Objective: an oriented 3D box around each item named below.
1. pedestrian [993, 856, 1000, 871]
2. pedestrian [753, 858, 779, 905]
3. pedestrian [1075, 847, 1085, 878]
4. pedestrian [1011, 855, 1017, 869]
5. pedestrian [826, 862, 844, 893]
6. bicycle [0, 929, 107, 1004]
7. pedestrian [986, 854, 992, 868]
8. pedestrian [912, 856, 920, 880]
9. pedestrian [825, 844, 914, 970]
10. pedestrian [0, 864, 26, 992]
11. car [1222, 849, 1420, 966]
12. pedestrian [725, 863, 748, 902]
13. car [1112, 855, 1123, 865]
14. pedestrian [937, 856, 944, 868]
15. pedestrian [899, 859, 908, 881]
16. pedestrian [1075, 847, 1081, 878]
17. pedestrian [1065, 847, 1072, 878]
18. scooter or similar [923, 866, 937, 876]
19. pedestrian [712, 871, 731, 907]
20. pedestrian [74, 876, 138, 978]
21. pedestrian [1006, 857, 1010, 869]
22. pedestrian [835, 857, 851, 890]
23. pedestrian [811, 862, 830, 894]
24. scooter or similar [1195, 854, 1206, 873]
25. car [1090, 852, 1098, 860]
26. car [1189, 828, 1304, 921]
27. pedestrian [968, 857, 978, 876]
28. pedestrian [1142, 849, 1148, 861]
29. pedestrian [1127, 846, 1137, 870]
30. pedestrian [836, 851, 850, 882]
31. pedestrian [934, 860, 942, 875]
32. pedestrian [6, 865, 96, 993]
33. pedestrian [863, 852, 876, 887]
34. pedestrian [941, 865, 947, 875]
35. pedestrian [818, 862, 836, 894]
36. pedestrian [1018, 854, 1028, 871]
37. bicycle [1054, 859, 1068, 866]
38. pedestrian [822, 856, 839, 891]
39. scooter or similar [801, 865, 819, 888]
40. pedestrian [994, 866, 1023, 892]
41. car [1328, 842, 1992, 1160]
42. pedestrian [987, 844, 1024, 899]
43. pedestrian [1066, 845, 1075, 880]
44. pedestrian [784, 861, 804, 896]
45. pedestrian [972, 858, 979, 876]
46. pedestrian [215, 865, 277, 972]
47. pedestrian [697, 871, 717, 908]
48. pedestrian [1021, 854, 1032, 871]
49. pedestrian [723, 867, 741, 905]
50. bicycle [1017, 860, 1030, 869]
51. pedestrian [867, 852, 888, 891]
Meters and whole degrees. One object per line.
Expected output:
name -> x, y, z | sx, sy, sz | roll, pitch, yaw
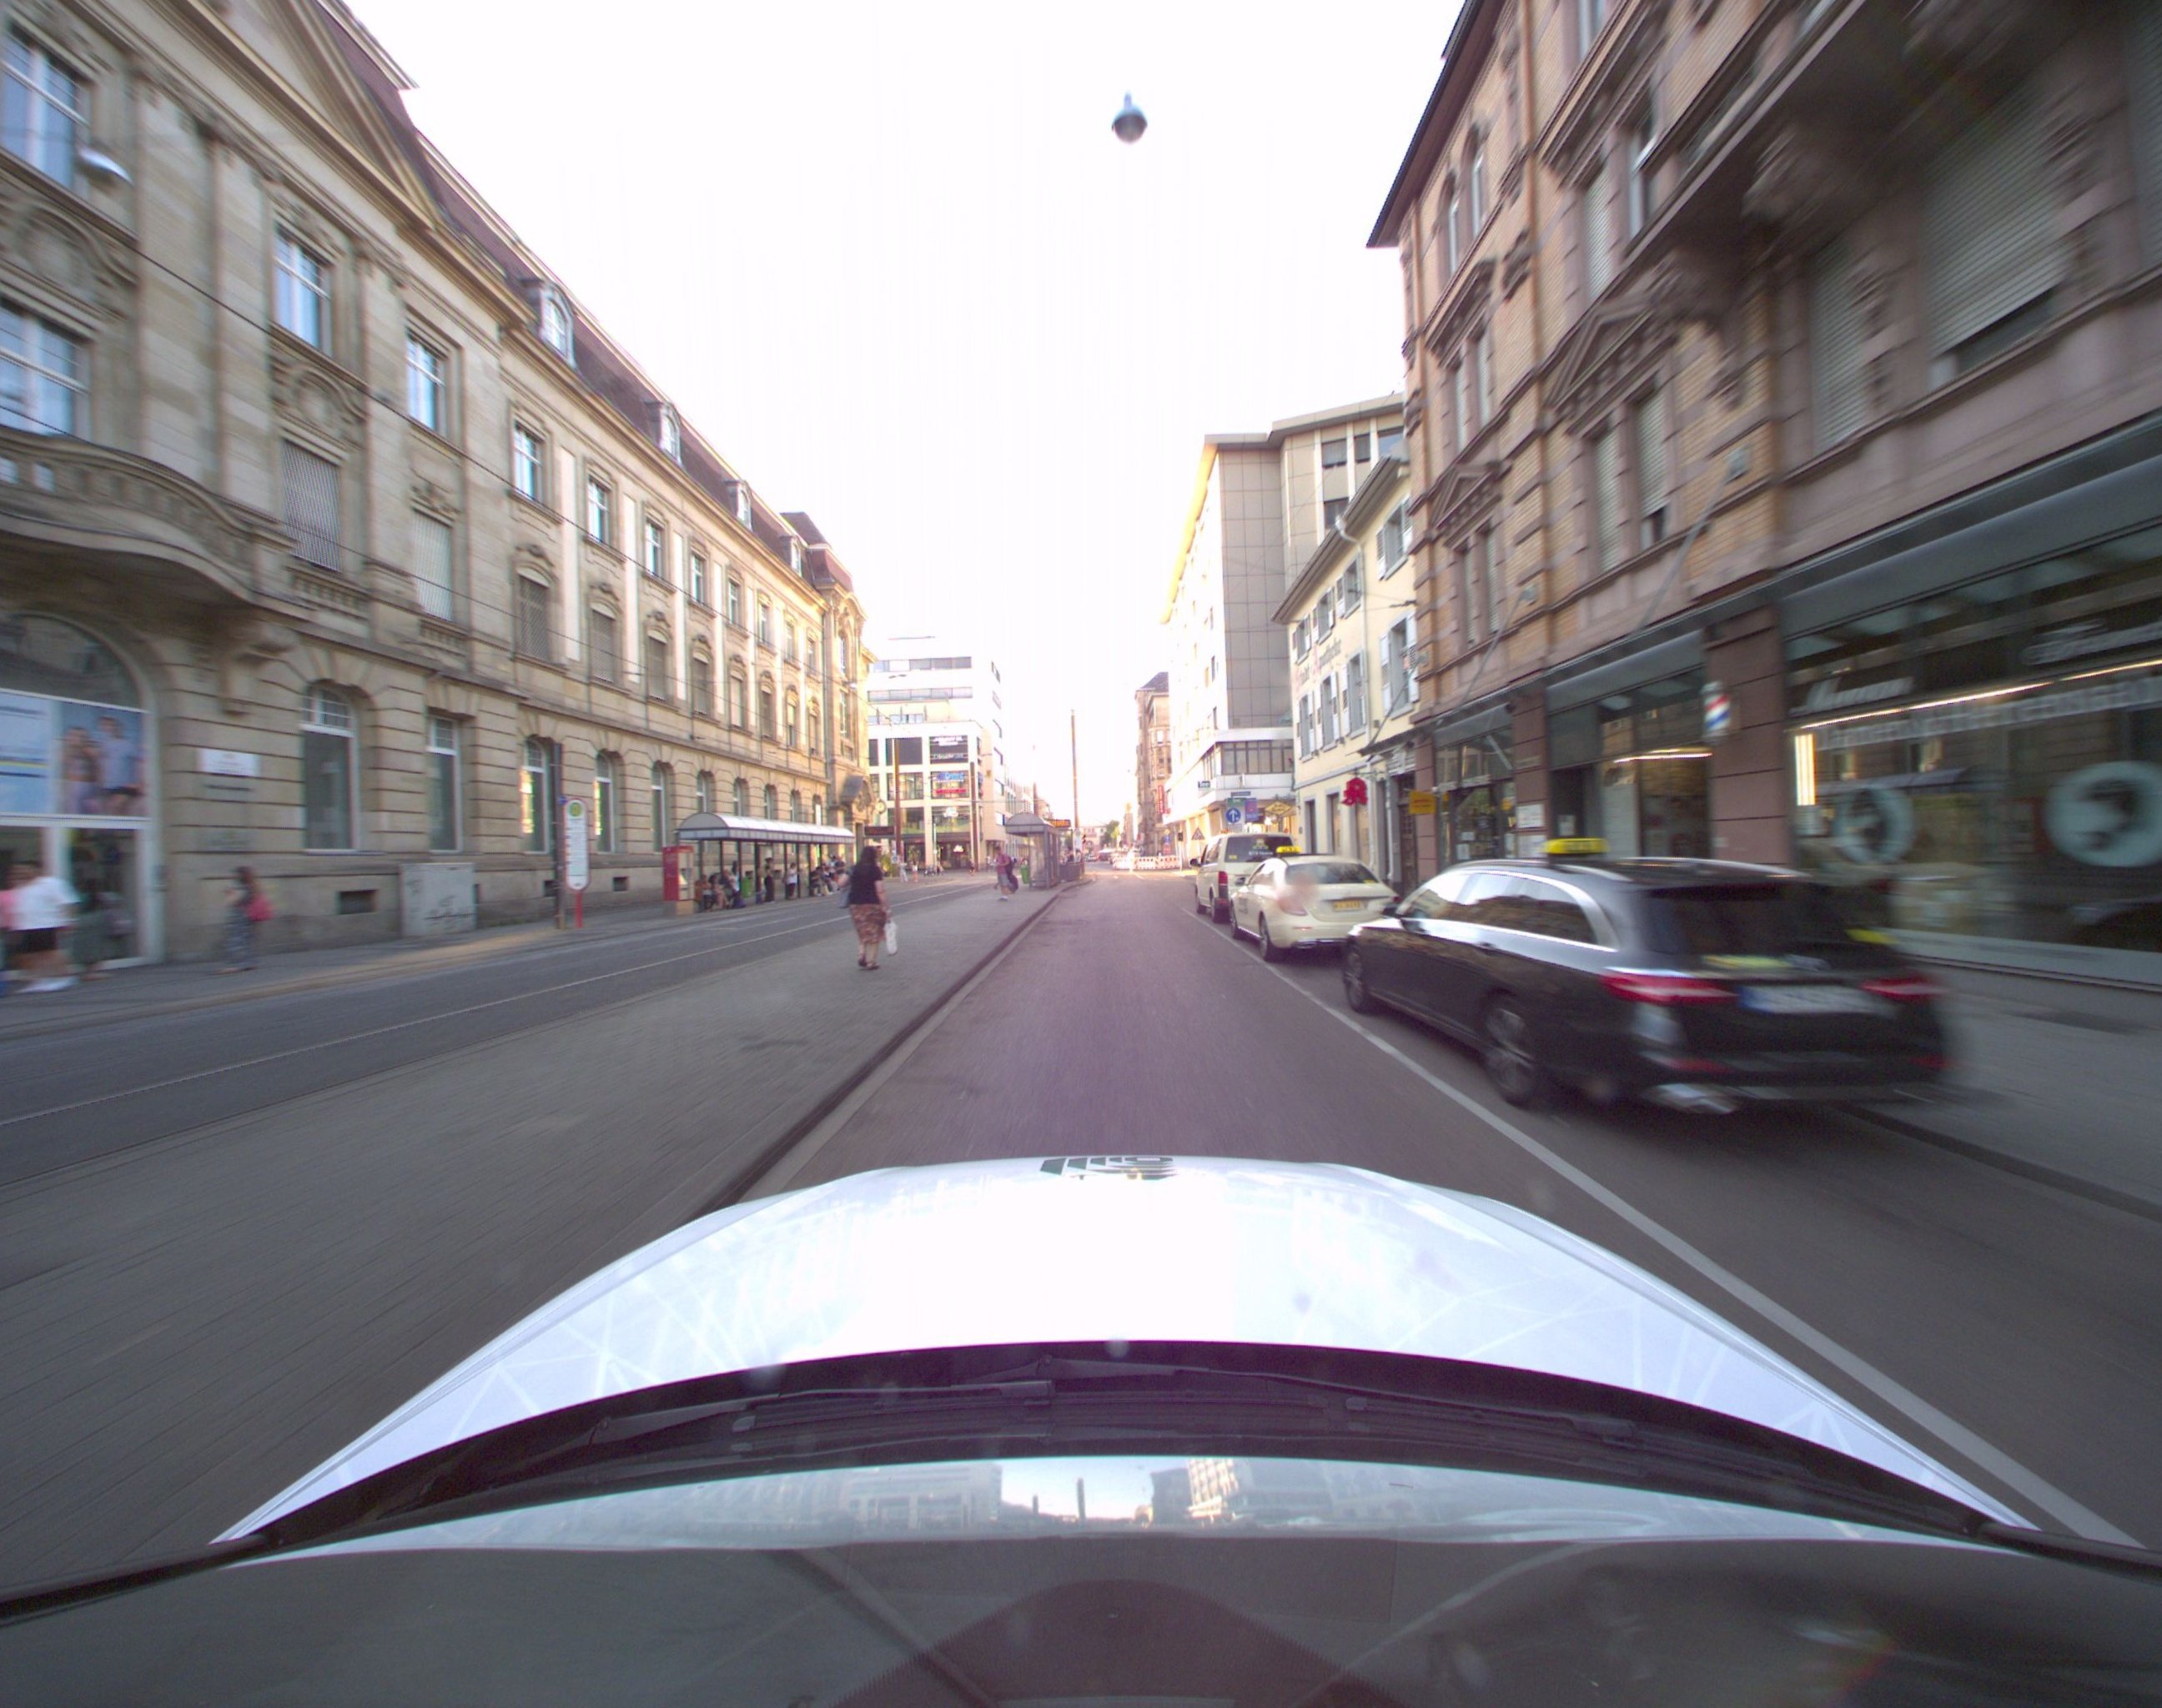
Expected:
pedestrian -> -9.470, 1.110, 91.638 | 0.644, 1.674, 0.531 | -2, 0, 9
pedestrian -> -11.344, 0.977, 29.326 | 0.513, 1.650, 0.641 | -2, -1, 23
pedestrian -> -0.052, 0.503, 48.108 | 0.536, 1.767, 0.595 | -1, -1, 6
pedestrian -> -8.431, 1.034, 102.263 | 0.780, 1.751, 0.600 | -1, -1, -2
pedestrian -> -10.871, 1.036, 36.012 | 0.515, 1.327, 0.639 | -2, -1, 5
bicycle -> -13.121, 1.391, 10.148 | 1.567, 0.874, 0.451 | -1, -1, 6
pedestrian -> -11.654, 0.893, 102.979 | 0.569, 1.855, 0.819 | -1, -1, 13
pedestrian -> -11.001, 0.934, 54.235 | 0.526, 1.525, 0.500 | -1, 0, -13
pedestrian -> -2.646, 0.644, 10.278 | 0.843, 1.501, 0.901 | -1, 0, 1
pedestrian -> -14.130, 0.958, 10.461 | 0.333, 1.642, 0.607 | -1, -1, 8
car -> 3.482, 0.672, 12.798 | 1.799, 1.483, 4.779 | 0, 0, 1
pedestrian -> -14.575, 1.192, 34.431 | 0.697, 1.614, 0.630 | -1, -1, 0
car -> 5.781, 0.931, 128.942 | 1.673, 1.547, 3.673 | -3, -1, 1
pedestrian -> -18.274, 1.050, 105.845 | 0.569, 1.526, 0.793 | -1, -1, 13
pedestrian -> -12.059, 1.081, 55.300 | 0.501, 1.525, 0.516 | -1, 0, -19
pedestrian -> -0.155, 0.472, 47.197 | 0.340, 1.796, 0.544 | -1, -1, -1
pedestrian -> -0.686, 0.455, 44.383 | 0.384, 1.642, 0.549 | -1, -1, -1
scooter or similar -> -13.922, 1.574, 74.997 | 1.089, 0.904, 0.891 | -2, 0, 2
pedestrian -> -11.235, 1.088, 25.442 | 0.362, 1.102, 0.430 | -1, -1, 7
pedestrian -> -14.318, 1.046, 11.961 | 0.435, 1.440, 0.575 | -1, -1, 38
pedestrian -> -9.084, 1.150, 101.787 | 0.388, 1.515, 0.505 | -2, -1, 0
pedestrian -> -11.415, 0.924, 39.082 | 0.515, 1.569, 0.639 | -2, -1, 5
pedestrian -> -10.986, 1.023, 34.374 | 0.515, 1.327, 0.639 | -2, -1, 5
scooter or similar -> 7.711, 0.609, 52.490 | 0.503, 1.234, 1.180 | -2, 0, 1
car -> 2.951, 0.438, 185.527 | 1.987, 1.904, 4.000 | -1, -1, 1
car -> 3.764, 0.445, 19.361 | 1.870, 1.923, 4.700 | 0, 0, 1
pedestrian -> -9.883, 1.108, 74.649 | 0.741, 1.700, 0.610 | -2, -1, -1
pedestrian -> 8.528, 0.141, 108.314 | 0.709, 1.611, 0.821 | -1, -1, -2
pedestrian -> 3.989, 0.311, 63.409 | 0.697, 1.815, 0.852 | -1, -1, 1
pedestrian -> -13.895, 0.714, 47.579 | 0.619, 1.776, 0.705 | -1, 0, -2
pedestrian -> -13.264, 1.256, 75.692 | 0.636, 1.420, 0.419 | -1, 0, 3
pedestrian -> -13.672, 0.978, 10.817 | 0.473, 1.642, 0.563 | -1, -1, 7
pedestrian -> -10.947, 0.796, 42.124 | 0.558, 1.776, 0.468 | -1, 0, -3
pedestrian -> -12.711, 1.478, 75.455 | 0.420, 0.965, 0.419 | -1, 0, 3
pedestrian -> -10.967, 1.030, 35.142 | 0.515, 1.327, 0.639 | -2, -1, 5
pedestrian -> -5.614, 0.810, 78.655 | 0.773, 1.614, 0.662 | -2, 0, -24
bicycle -> -3.009, 1.263, 121.898 | 1.978, 1.122, 0.553 | 0, -1, -28
pedestrian -> -11.791, 0.905, 38.359 | 0.515, 1.646, 0.639 | -2, -1, 5
scooter or similar -> -14.679, 1.217, 44.125 | 0.484, 1.182, 1.294 | -1, -1, 3
pedestrian -> -2.656, 0.910, 29.885 | 0.791, 0.939, 0.697 | -1, 0, 24
car -> 3.445, 0.708, 6.232 | 1.720, 1.477, 4.821 | -1, 0, 1
pedestrian -> -2.300, 0.536, 24.847 | 0.679, 1.638, 0.866 | -2, 0, 42
pedestrian -> -0.540, 0.441, 41.369 | 0.411, 1.767, 0.594 | -1, -1, -1
pedestrian -> -11.196, 0.942, 31.766 | 0.515, 1.327, 0.639 | -2, -1, 5
pedestrian -> -9.743, 1.192, 75.142 | 0.569, 1.593, 0.447 | -2, -1, -7
pedestrian -> -12.942, 0.984, 12.625 | 0.566, 1.605, 0.442 | -1, -1, 16
pedestrian -> -11.407, 1.085, 24.859 | 0.362, 1.102, 0.430 | -1, -1, 7
pedestrian -> -5.245, 0.838, 77.943 | 0.825, 1.614, 0.688 | -2, 0, -24
pedestrian -> -11.257, 1.027, 26.289 | 0.362, 1.200, 0.430 | -1, -1, 7
bicycle -> -7.573, 1.350, 107.601 | 1.689, 1.122, 0.451 | -1, -1, 3
pedestrian -> -8.860, 0.766, 35.425 | 0.671, 1.691, 0.639 | -2, -1, 5
